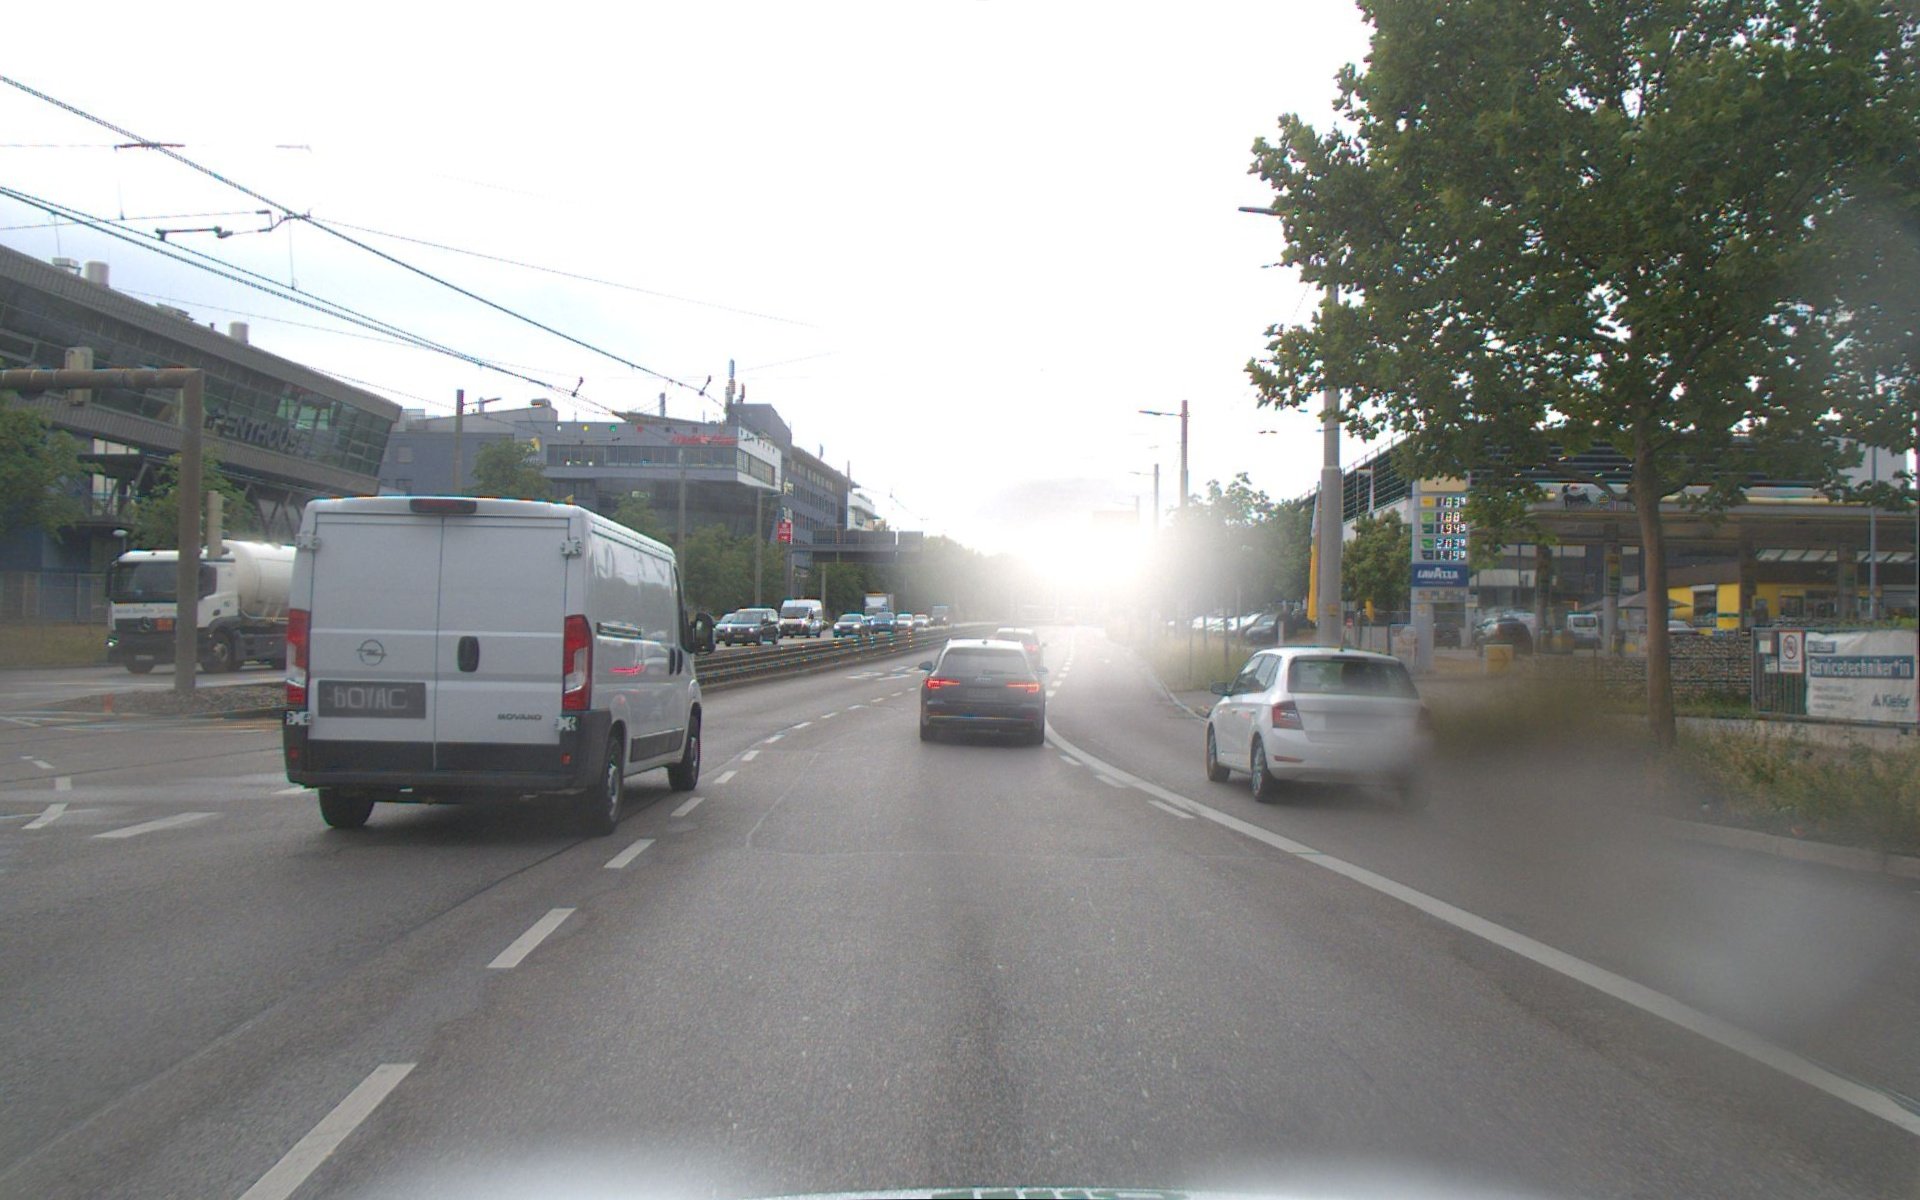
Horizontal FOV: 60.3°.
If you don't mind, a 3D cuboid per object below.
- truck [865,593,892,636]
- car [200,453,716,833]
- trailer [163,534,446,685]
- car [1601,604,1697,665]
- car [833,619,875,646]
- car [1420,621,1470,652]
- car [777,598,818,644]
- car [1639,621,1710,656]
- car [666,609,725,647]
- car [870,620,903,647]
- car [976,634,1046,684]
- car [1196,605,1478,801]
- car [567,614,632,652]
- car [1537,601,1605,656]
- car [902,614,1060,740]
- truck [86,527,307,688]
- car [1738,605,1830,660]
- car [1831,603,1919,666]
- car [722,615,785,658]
[{"bbox_3d":[-7.421,1.345,150.630,2.115,3.709,6.871,3,-1,-2],"label":"truck"},{"bbox_3d":[-3.508,0.329,12.837,2.395,2.334,4.904,1,-2,0],"label":"car"},{"bbox_3d":[-18.808,0.404,48.658,2.667,3.922,11.236,0,-2,7],"label":"trailer"},{"bbox_3d":[23.943,1.184,57.617,1.951,2.068,4.002,0,-1,4],"label":"car"},{"bbox_3d":[-6.891,2.110,107.741,1.762,1.649,4.959,0,-1,8],"label":"car"},{"bbox_3d":[26.443,1.965,90.301,1.754,1.619,4.002,0,-1,4],"label":"car"},{"bbox_3d":[-10.552,1.360,107.588,2.115,2.770,5.065,3,-1,-2],"label":"car"},{"bbox_3d":[34.684,1.848,80.364,1.952,1.624,4.002,0,-1,4],"label":"car"},{"bbox_3d":[-13.845,1.462,86.809,1.762,1.962,4.806,0,-1,8],"label":"car"},{"bbox_3d":[-5.666,2.564,127.690,2.114,1.918,4.302,3,-1,2],"label":"car"},{"bbox_3d":[1.662,1.870,52.774,1.854,1.491,3.911,1,-1,7],"label":"car"},{"bbox_3d":[3.660,0.964,16.778,1.792,1.685,3.998,2,-1,-2],"label":"car"},{"bbox_3d":[-15.439,1.426,70.961,1.530,1.537,3.993,1,-1,6],"label":"car"},{"bbox_3d":[24.649,1.145,66.795,1.644,2.049,3.544,3,-1,6],"label":"car"},{"bbox_3d":[0.212,1.067,24.262,1.954,1.666,3.996,1,-1,-4],"label":"car"},{"bbox_3d":[-19.542,0.247,42.694,2.687,3.872,5.415,0,-2,7],"label":"truck"},{"bbox_3d":[33.340,1.311,67.031,1.832,2.049,3.774,3,-1,1],"label":"car"},{"bbox_3d":[32.295,1.213,58.318,1.640,2.049,3.139,3,-1,4],"label":"car"},{"bbox_3d":[-10.116,1.794,81.430,2.113,1.918,4.304,3,-1,5],"label":"car"}]
